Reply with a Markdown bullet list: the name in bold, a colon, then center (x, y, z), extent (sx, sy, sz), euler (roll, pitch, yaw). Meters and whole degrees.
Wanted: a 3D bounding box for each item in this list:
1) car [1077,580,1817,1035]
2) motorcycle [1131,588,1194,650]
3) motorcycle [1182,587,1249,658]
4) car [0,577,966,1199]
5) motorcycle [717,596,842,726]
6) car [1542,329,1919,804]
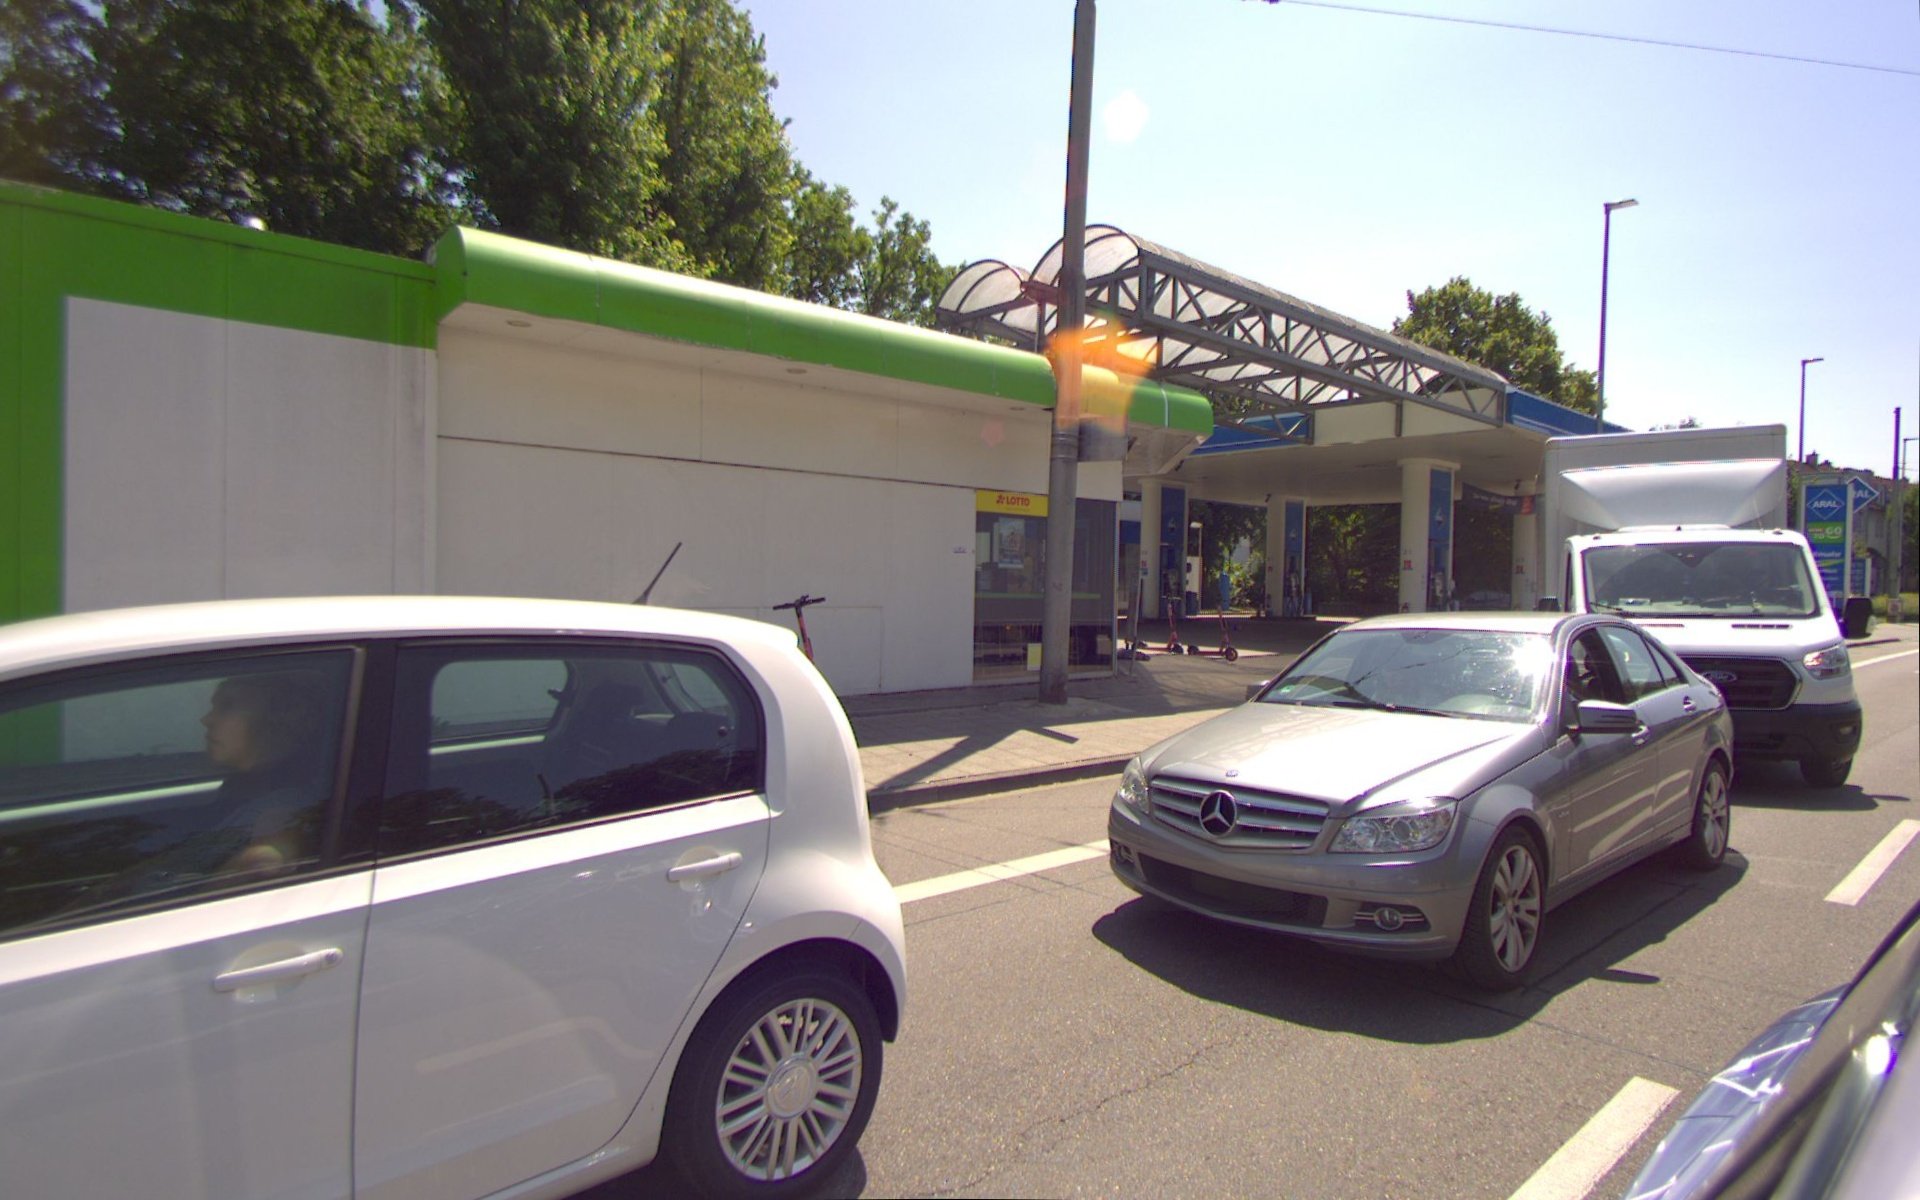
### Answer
- **car**: center (3.079, 0.697, 5.659), extent (5.206, 1.492, 1.716), euler (0, -1, -40)
- **motorcycle**: center (3.976, 0.368, 19.935), extent (0.389, 1.127, 1.156), euler (2, 2, -41)
- **motorcycle**: center (4.793, 0.407, 19.005), extent (0.357, 1.225, 1.156), euler (2, 2, -41)
- **car**: center (-1.786, 0.697, 2.274), extent (3.374, 1.466, 1.612), euler (1, 0, -40)
- **motorcycle**: center (-1.648, 0.537, 9.329), extent (1.098, 1.118, 0.253), euler (-1, 7, -40)
- **car**: center (7.943, -0.268, 11.484), extent (2.211, 3.377, 8.546), euler (0, 0, 29)
